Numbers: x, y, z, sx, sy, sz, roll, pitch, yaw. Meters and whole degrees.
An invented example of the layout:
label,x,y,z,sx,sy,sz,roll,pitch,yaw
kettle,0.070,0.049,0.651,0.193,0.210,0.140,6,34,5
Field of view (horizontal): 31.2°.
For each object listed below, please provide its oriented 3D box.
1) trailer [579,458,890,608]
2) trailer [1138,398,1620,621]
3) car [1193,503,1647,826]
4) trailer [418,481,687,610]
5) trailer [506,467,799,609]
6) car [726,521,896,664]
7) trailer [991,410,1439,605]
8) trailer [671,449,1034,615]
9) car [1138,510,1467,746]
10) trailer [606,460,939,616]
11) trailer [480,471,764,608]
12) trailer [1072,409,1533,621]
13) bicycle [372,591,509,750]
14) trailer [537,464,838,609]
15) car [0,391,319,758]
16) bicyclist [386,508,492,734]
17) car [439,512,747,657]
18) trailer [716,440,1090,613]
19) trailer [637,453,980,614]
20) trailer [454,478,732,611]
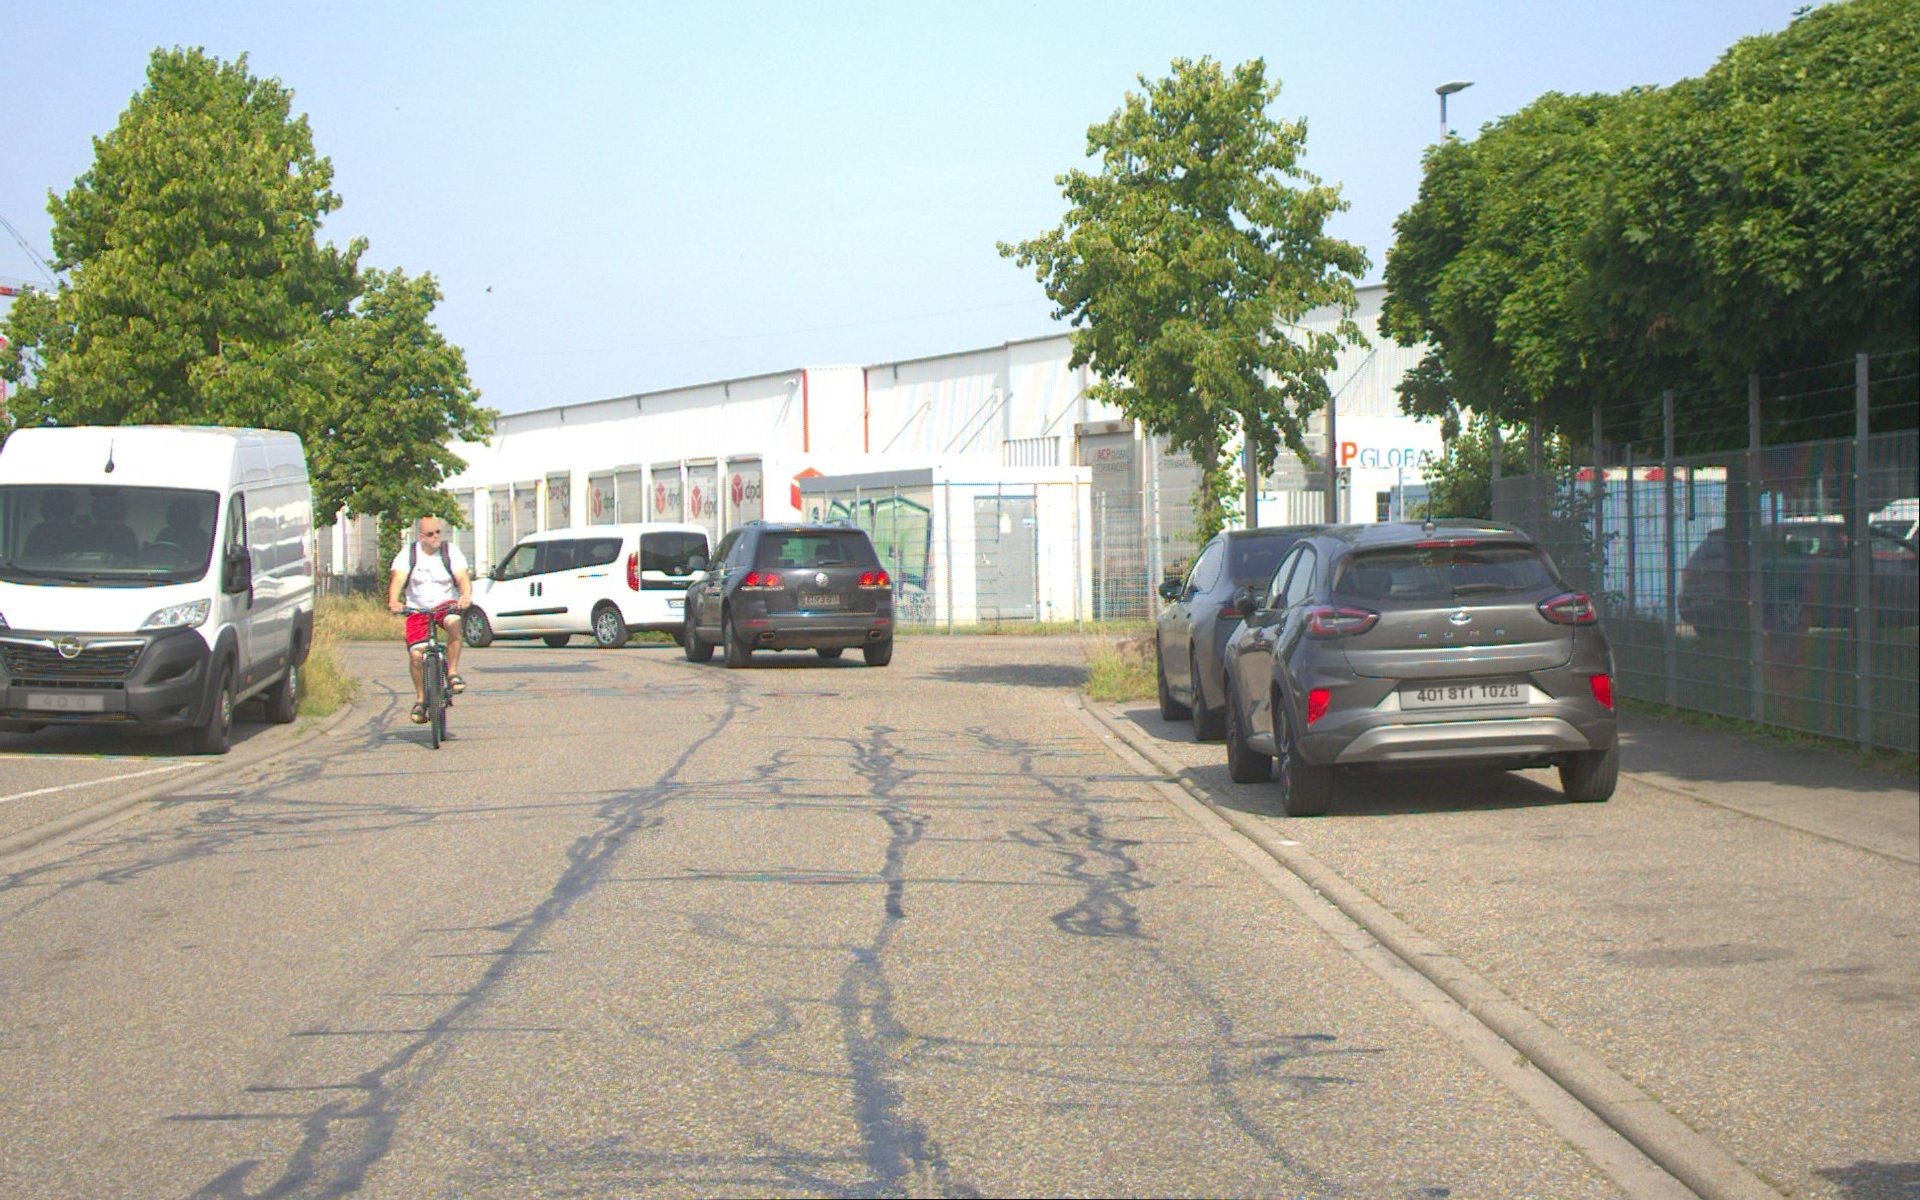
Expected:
label,x,y,z,sx,sy,sz,roll,pitch,yaw
trailer,-6.209,-1.818,95.088,8.031,3.880,2.776,1,1,-25
trailer,7.801,-1.658,63.865,8.534,3.881,2.776,-1,-2,-22
car,2.478,0.310,19.524,1.880,1.568,4.114,-2,0,-1
trailer,-12.989,-1.704,109.654,7.960,3.880,2.776,1,1,-25
trailer,-8.960,-1.779,100.393,7.960,3.880,2.776,1,1,-25
car,-1.718,-0.101,40.690,1.880,1.581,4.114,-1,0,-1
trailer,5.174,-1.807,69.386,8.730,3.748,2.791,0,0,-24
trailer,-2.651,-1.654,85.610,8.534,3.880,2.776,1,1,-25
car,2.528,0.177,26.566,1.880,1.568,5.119,-2,0,-1
trailer,-4.952,-1.611,91.313,8.305,3.880,2.776,1,1,-25
trailer,-10.150,-1.801,103.397,7.960,3.880,2.776,1,1,-25
trailer,6.665,-1.676,66.629,8.534,3.880,2.776,-2,1,-23
bicycle,-4.034,0.525,26.857,0.716,1.118,2.219,-3,1,-1
trailer,-7.731,-1.781,97.674,7.960,3.880,2.776,1,1,-25
car,-6.647,-0.244,27.832,2.102,2.586,6.505,2,1,-4
bicyclist,-4.058,0.150,26.823,0.639,1.713,1.165,-1,1,-1
car,-5.630,-0.228,52.355,4.621,2.103,2.123,-1,1,43
trailer,-1.339,-1.725,82.808,8.534,3.880,2.776,1,1,-25
trailer,-3.866,-1.675,88.438,8.305,3.880,2.776,1,1,-25
trailer,-11.315,-1.687,106.150,7.960,3.880,2.776,1,1,-25
